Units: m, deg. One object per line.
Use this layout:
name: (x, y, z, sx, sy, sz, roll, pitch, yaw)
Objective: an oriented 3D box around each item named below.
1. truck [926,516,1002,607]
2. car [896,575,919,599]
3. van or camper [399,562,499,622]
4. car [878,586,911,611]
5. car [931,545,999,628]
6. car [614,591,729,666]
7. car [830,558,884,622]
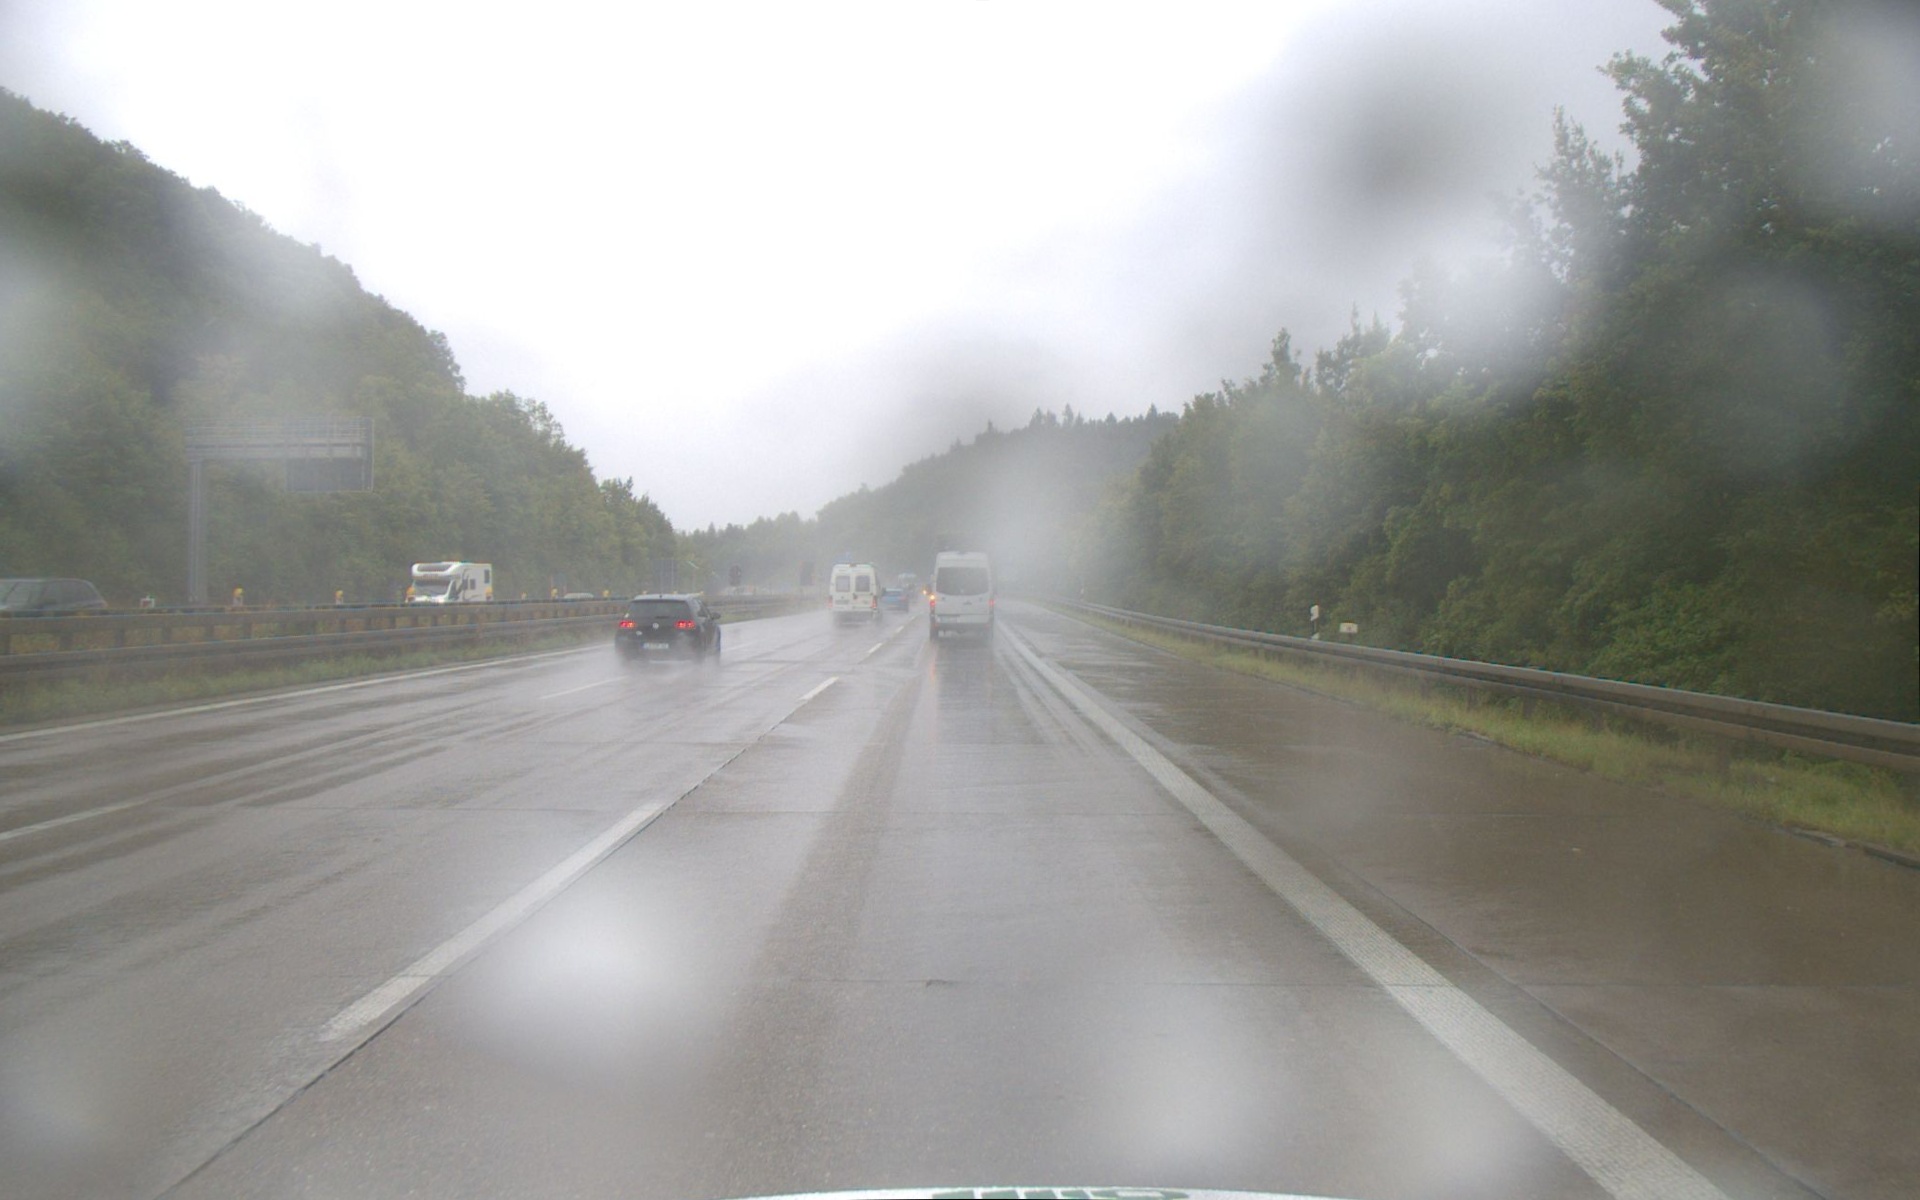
truck: (0.117, -1.945, 79.237, 3.316, 4.036, 8.667, -2, 3, -1)
car: (-4.304, -1.066, 136.237, 1.831, 1.841, 4.187, 2, 1, -2)
van or camper: (-24.343, -0.407, 79.159, 2.504, 2.765, 7.498, 0, 1, 0)
car: (-3.879, -0.124, 97.466, 1.819, 1.362, 4.348, 2, 1, -4)
car: (0.101, -0.431, 51.237, 1.861, 2.374, 5.249, 2, 1, -2)
car: (-5.790, 0.531, 33.651, 1.705, 1.412, 4.320, 0, 0, -2)
car: (-4.204, -0.440, 68.149, 1.957, 2.474, 5.789, 2, 1, -2)
